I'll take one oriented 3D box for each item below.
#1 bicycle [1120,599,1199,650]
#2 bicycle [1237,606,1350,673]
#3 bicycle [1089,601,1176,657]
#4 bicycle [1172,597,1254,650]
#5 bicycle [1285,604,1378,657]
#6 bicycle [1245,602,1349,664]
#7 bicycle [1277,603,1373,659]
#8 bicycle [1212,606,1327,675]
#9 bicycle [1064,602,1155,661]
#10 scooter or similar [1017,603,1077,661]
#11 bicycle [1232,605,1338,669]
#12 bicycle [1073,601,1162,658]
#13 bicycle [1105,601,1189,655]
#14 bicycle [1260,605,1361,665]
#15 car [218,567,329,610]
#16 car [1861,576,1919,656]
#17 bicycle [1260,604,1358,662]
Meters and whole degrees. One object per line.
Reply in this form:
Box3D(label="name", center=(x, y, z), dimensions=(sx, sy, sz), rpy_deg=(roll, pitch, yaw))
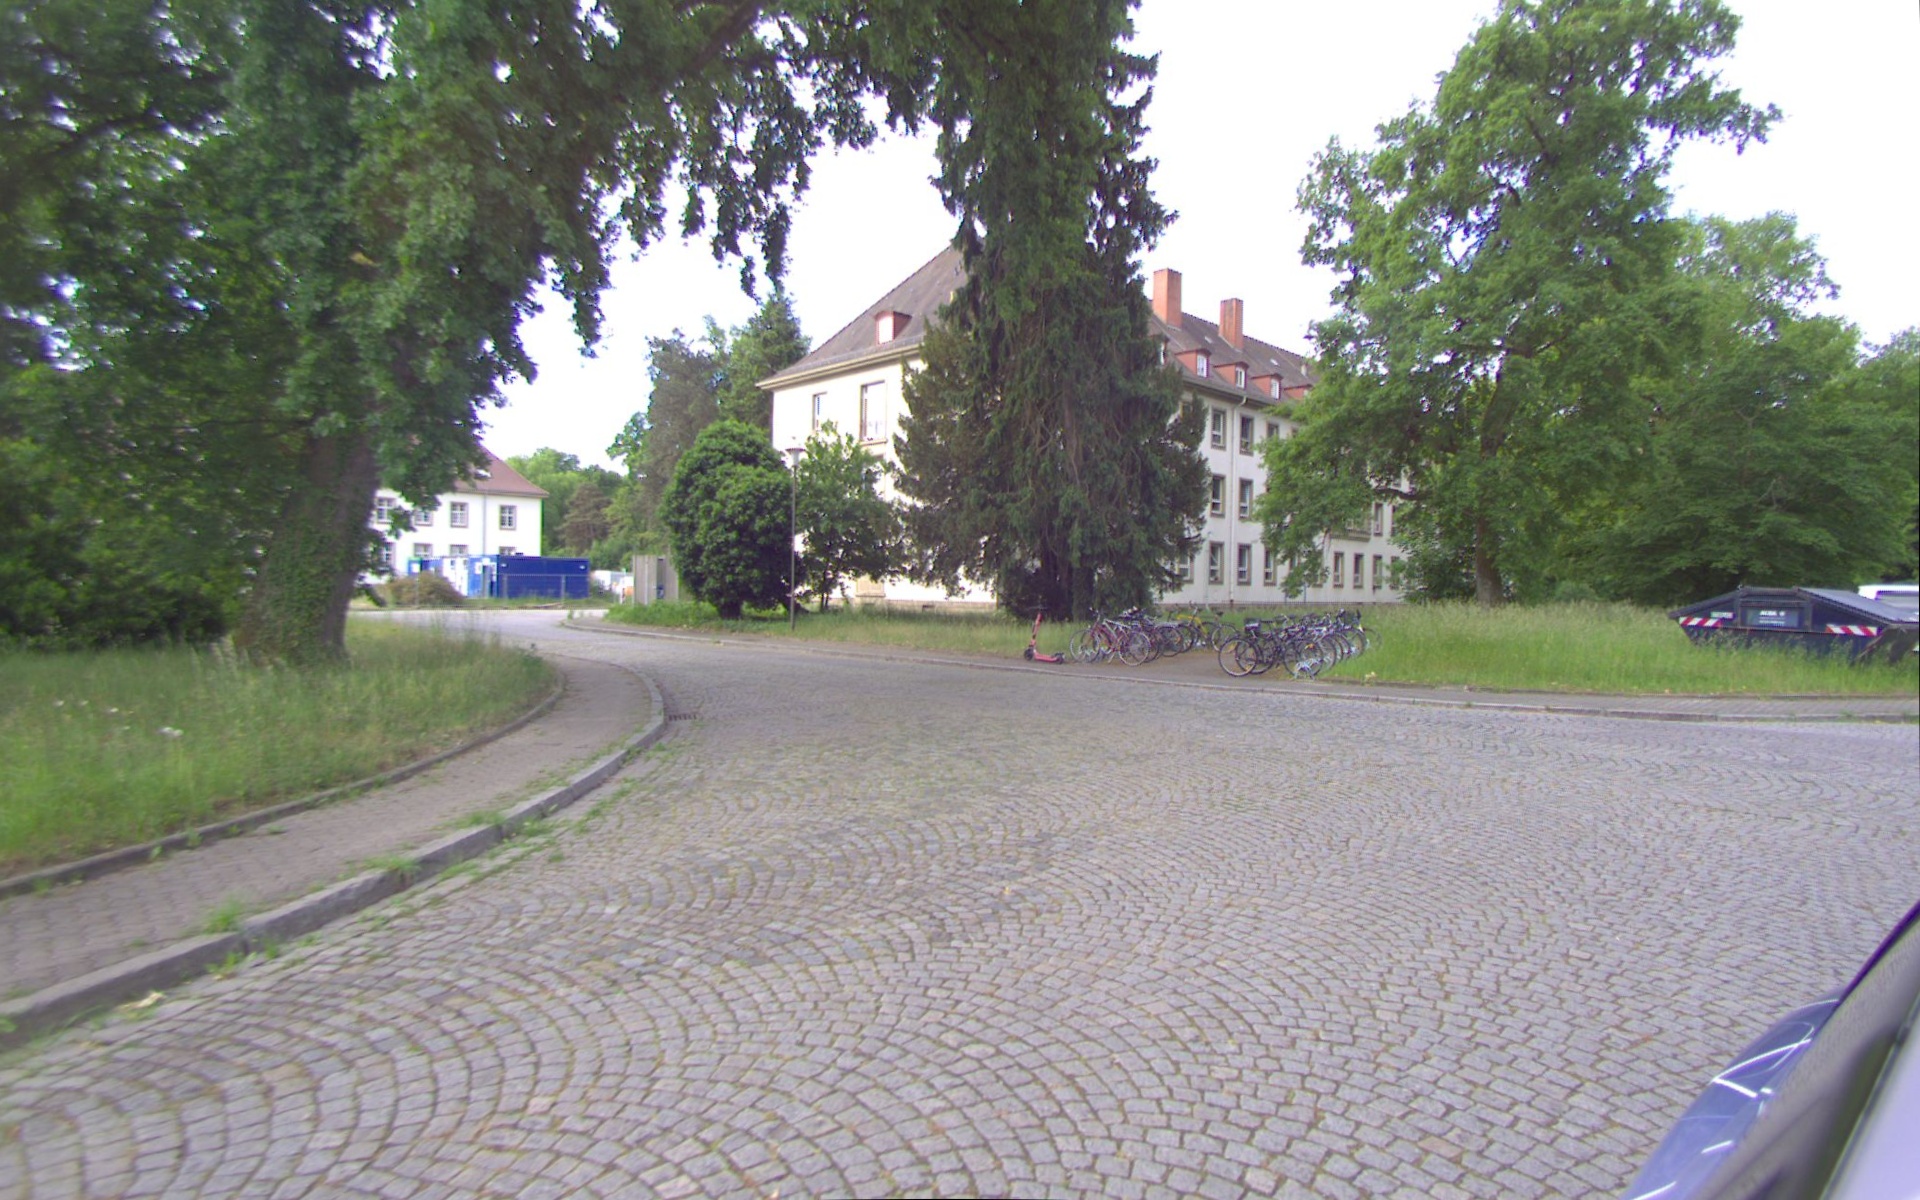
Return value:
Box3D(label="bicycle", center=(4.798, 0.568, 24.315), dimensions=(1.834, 1.185, 0.485), rpy_deg=(0, 0, 18))
Box3D(label="bicycle", center=(6.078, 0.713, 18.509), dimensions=(1.914, 1.185, 0.485), rpy_deg=(-1, -1, 19))
Box3D(label="bicycle", center=(3.792, 0.615, 22.289), dimensions=(1.840, 1.185, 0.484), rpy_deg=(0, 0, 25))
Box3D(label="bicycle", center=(6.124, 0.554, 24.531), dimensions=(1.849, 1.184, 0.482), rpy_deg=(3, 1, 37))
Box3D(label="bicycle", center=(8.482, 0.692, 23.145), dimensions=(1.923, 1.185, 0.532), rpy_deg=(-1, -1, 31))
Box3D(label="bicycle", center=(6.674, 0.647, 20.071), dimensions=(1.916, 1.185, 0.485), rpy_deg=(-1, -1, 22))
Box3D(label="bicycle", center=(7.919, 0.666, 21.970), dimensions=(1.918, 1.185, 0.484), rpy_deg=(-1, -1, 25))
Box3D(label="bicycle", center=(5.527, 0.719, 18.121), dimensions=(1.914, 1.185, 0.485), rpy_deg=(-1, -1, 19))
Box3D(label="bicycle", center=(3.123, 0.646, 21.166), dimensions=(1.837, 1.185, 0.485), rpy_deg=(0, 0, 21))
Box3D(label="scooter or similar", center=(1.827, 0.660, 21.417), dimensions=(0.406, 1.185, 1.305), rpy_deg=(0, -1, -45))
Box3D(label="bicycle", center=(6.288, 0.711, 19.601), dimensions=(1.916, 1.185, 0.485), rpy_deg=(-1, -1, 22))
Box3D(label="bicycle", center=(3.381, 0.619, 21.705), dimensions=(1.837, 1.185, 0.485), rpy_deg=(0, 0, 21))
Box3D(label="bicycle", center=(4.229, 0.611, 22.925), dimensions=(1.834, 1.185, 0.485), rpy_deg=(0, 0, 18))
Box3D(label="bicycle", center=(7.153, 0.704, 20.680), dimensions=(1.918, 1.185, 0.484), rpy_deg=(-1, -1, 25))
Box3D(label="car", center=(-38.266, -0.624, 56.505), dimensions=(4.858, 2.333, 1.919), rpy_deg=(0, 1, -44))
Box3D(label="car", center=(26.223, 0.451, 25.487), dimensions=(1.967, 2.038, 5.141), rpy_deg=(0, 2, -44))
Box3D(label="bicycle", center=(7.443, 0.702, 21.595), dimensions=(1.918, 1.185, 0.484), rpy_deg=(-1, -1, 25))
